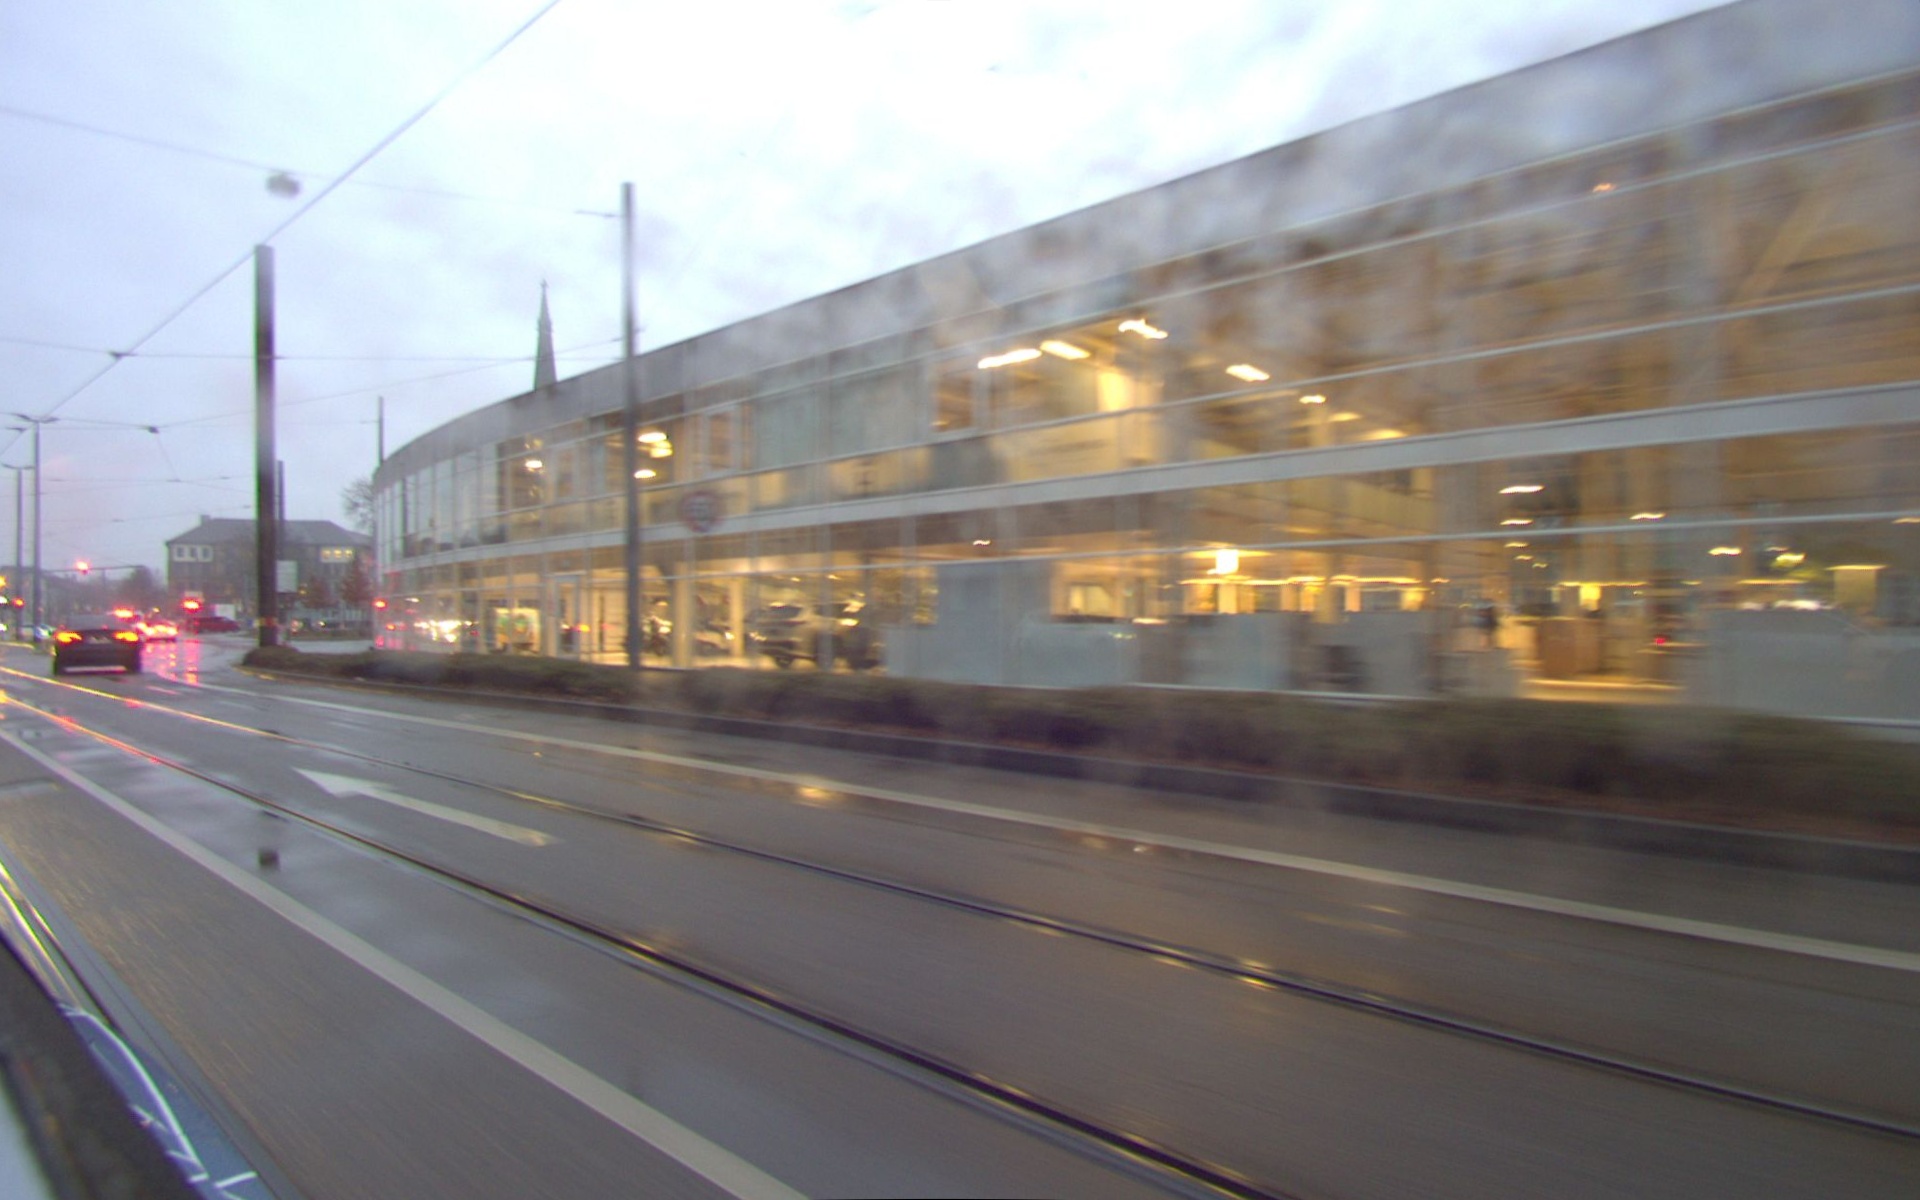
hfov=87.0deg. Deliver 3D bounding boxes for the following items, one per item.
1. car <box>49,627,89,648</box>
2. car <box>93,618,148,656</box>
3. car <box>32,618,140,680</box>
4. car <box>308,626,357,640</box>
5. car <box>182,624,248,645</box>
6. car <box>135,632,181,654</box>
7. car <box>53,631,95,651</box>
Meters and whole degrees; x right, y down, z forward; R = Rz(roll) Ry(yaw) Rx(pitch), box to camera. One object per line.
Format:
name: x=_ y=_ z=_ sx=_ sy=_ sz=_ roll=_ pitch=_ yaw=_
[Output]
car: x=-67.191 y=2.771 z=76.291 sx=4.000 sy=1.497 sz=1.879 roll=-1 pitch=-1 yaw=43
car: x=-47.342 y=2.038 z=57.028 sx=1.971 sy=2.029 sz=4.687 roll=-1 pitch=0 yaw=-45
car: x=-24.541 y=1.332 z=28.357 sx=4.442 sy=1.590 sz=1.821 roll=-2 pitch=-1 yaw=43
car: x=-65.348 y=3.429 z=105.348 sx=3.949 sy=1.320 sz=1.997 roll=-1 pitch=0 yaw=5
car: x=-79.967 y=3.721 z=108.721 sx=1.984 sy=2.029 sz=5.518 roll=-1 pitch=0 yaw=19
car: x=-55.556 y=2.945 z=70.089 sx=4.589 sy=1.432 sz=1.971 roll=-1 pitch=-1 yaw=44
car: x=-62.351 y=2.869 z=71.211 sx=4.001 sy=1.401 sz=1.850 roll=-1 pitch=-3 yaw=44
